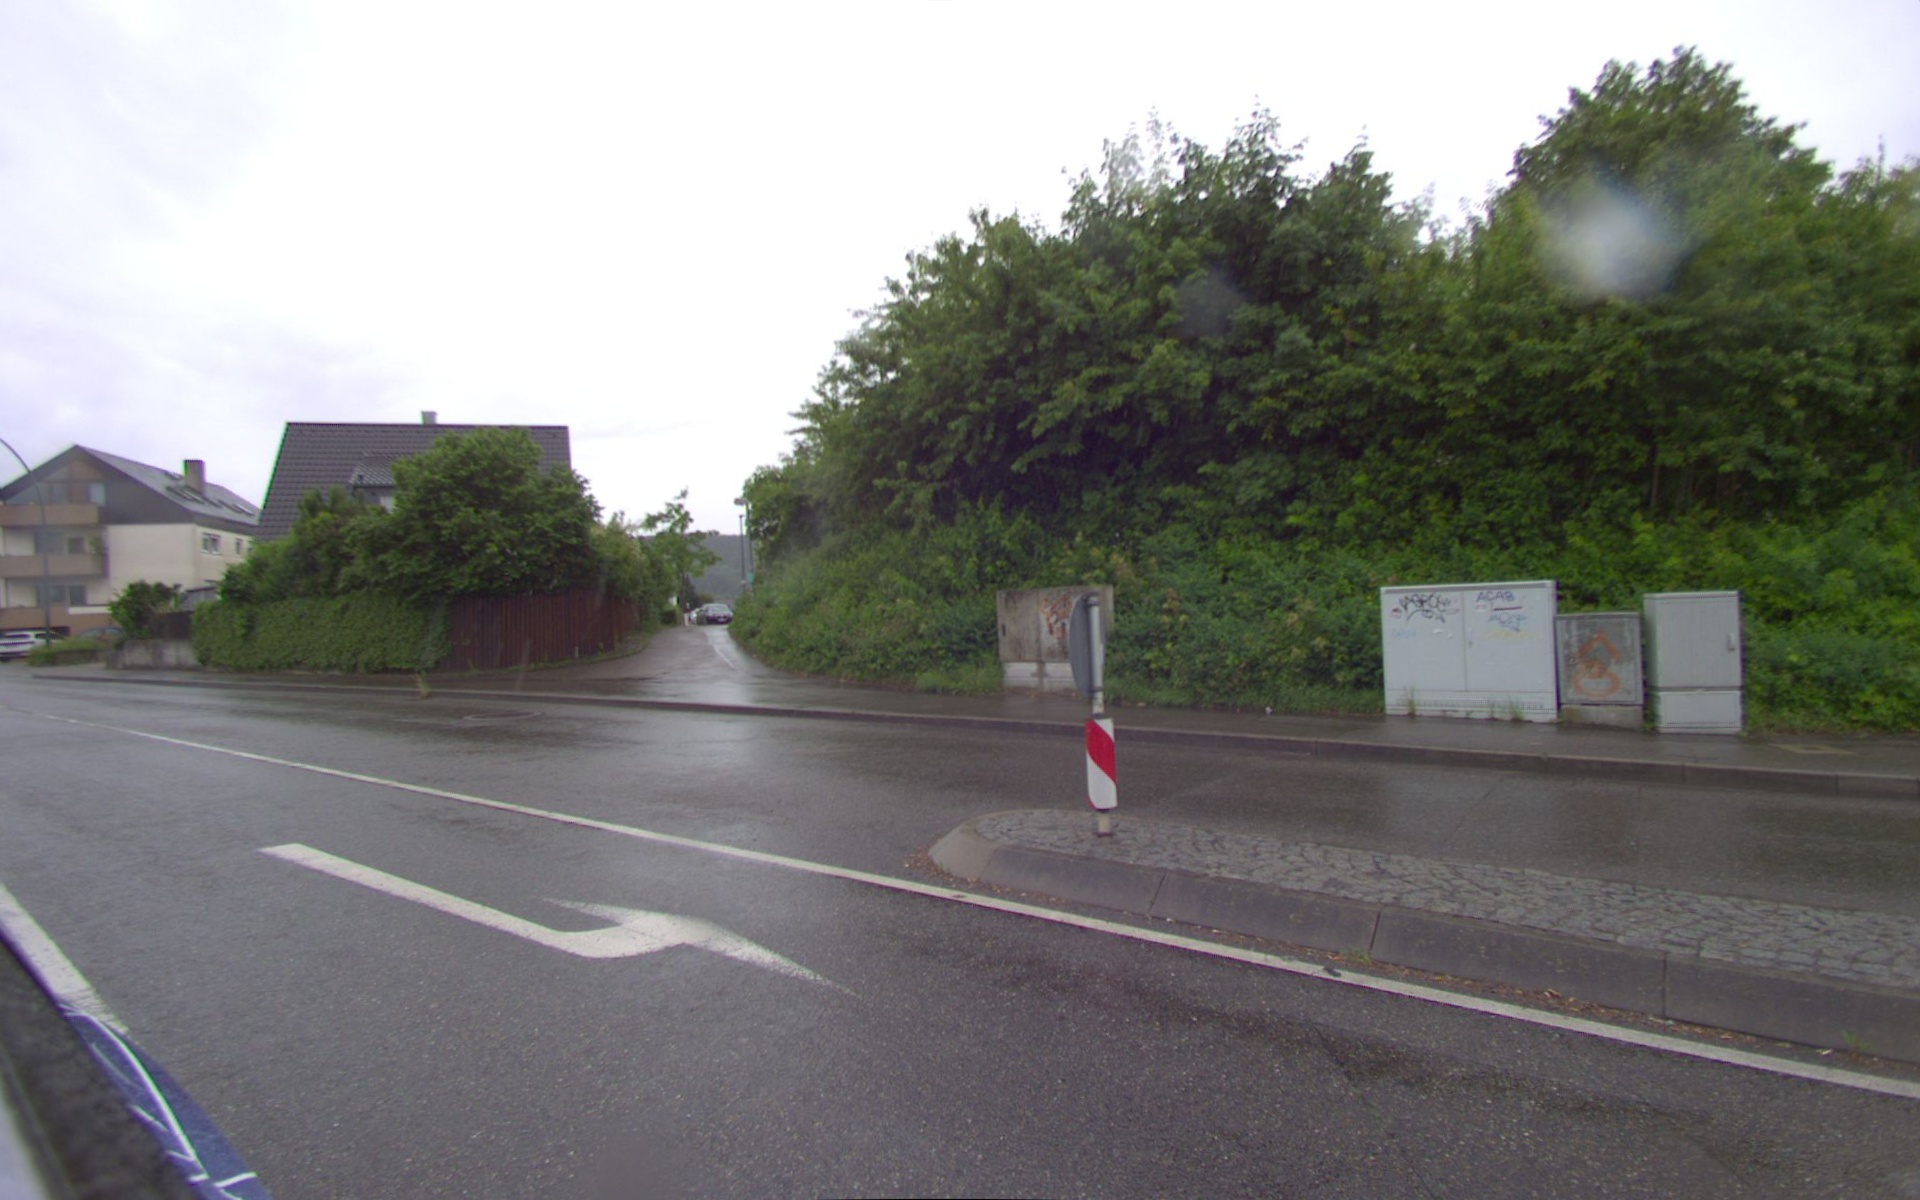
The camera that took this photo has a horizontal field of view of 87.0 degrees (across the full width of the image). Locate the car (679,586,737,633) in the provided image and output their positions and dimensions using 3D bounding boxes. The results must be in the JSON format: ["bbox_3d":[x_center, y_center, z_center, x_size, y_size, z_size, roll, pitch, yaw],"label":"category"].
[{"bbox_3d":[-9.174,0.330,37.052,1.683,1.600,3.668,-1,0,-8],"label":"car"}]

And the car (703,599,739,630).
[{"bbox_3d":[-15.593,0.916,66.173,1.968,1.873,4.008,-2,0,-9],"label":"car"}]

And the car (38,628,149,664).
[{"bbox_3d":[-41.430,2.190,48.460,3.609,1.530,1.759,-2,0,-15],"label":"car"}]

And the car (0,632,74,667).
[{"bbox_3d":[-46.777,2.464,50.926,1.837,1.530,4.012,-2,0,-18],"label":"car"}]
